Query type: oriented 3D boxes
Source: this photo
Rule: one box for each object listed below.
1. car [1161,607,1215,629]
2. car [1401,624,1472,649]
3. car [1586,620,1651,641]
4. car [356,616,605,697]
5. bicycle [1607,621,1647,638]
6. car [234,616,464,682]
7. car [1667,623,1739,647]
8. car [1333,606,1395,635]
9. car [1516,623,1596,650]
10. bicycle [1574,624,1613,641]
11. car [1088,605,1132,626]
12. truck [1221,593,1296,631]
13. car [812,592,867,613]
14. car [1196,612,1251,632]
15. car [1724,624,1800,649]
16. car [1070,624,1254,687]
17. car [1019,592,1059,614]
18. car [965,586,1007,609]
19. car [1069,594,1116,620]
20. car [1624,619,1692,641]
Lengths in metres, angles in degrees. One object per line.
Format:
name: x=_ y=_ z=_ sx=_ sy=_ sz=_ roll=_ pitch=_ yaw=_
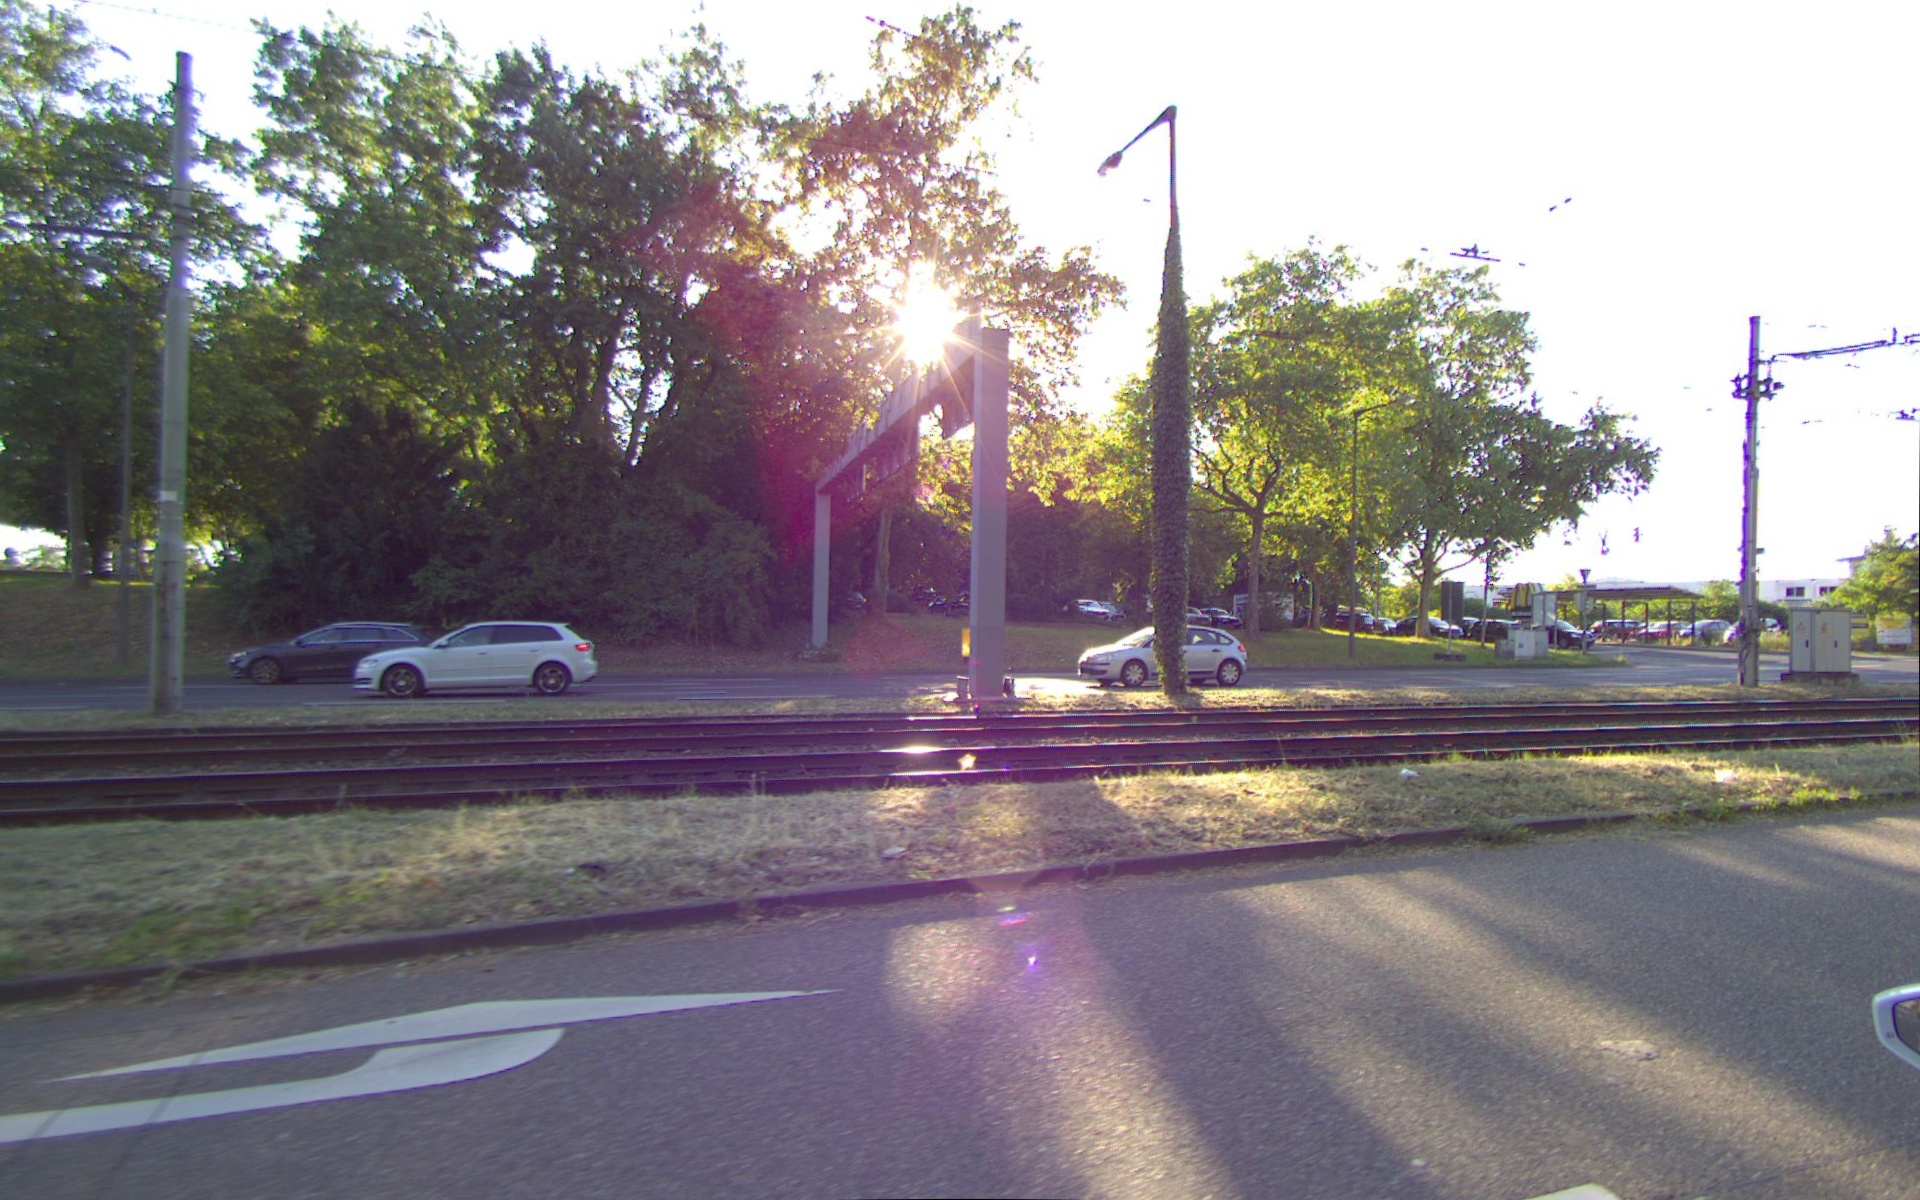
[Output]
car: x=15.209 y=1.179 z=67.209 sx=1.648 sy=1.390 sz=3.981 roll=1 pitch=0 yaw=-20
car: x=30.101 y=2.302 z=63.589 sx=1.755 sy=1.405 sz=4.053 roll=1 pitch=0 yaw=-17
car: x=47.854 y=2.217 z=73.042 sx=3.935 sy=1.461 sz=1.841 roll=1 pitch=0 yaw=-17
car: x=-9.137 y=1.059 z=19.526 sx=4.195 sy=1.434 sz=1.651 roll=1 pitch=-1 yaw=-21
bicycle: x=43.170 y=1.903 z=64.986 sx=2.149 sy=1.079 sz=0.668 roll=1 pitch=0 yaw=-2
car: x=-14.920 y=1.198 z=24.824 sx=4.530 sy=1.501 sz=1.836 roll=1 pitch=0 yaw=-20
car: x=49.093 y=2.320 z=66.422 sx=3.935 sy=1.461 sz=1.841 roll=1 pitch=0 yaw=-17
car: x=27.874 y=1.422 z=69.492 sx=1.967 sy=1.884 sz=3.987 roll=1 pitch=-1 yaw=-16
car: x=34.906 y=2.124 z=58.940 sx=1.753 sy=1.405 sz=4.058 roll=1 pitch=0 yaw=-12
bicycle: x=42.790 y=2.169 z=67.856 sx=2.148 sy=1.079 sz=0.668 roll=1 pitch=0 yaw=12
car: x=11.500 y=1.177 z=77.266 sx=1.892 sy=1.550 sz=3.986 roll=1 pitch=0 yaw=-16
truck: x=28.432 y=1.086 z=96.005 sx=2.691 sy=3.433 sz=8.284 roll=1 pitch=0 yaw=-17
car: x=-8.130 y=0.171 z=67.799 sx=3.456 sy=1.350 sz=1.523 roll=1 pitch=0 yaw=26
car: x=17.838 y=1.462 z=68.283 sx=1.648 sy=1.277 sz=3.981 roll=1 pitch=0 yaw=-20
car: x=50.667 y=2.307 z=63.491 sx=3.935 sy=1.461 sz=1.841 roll=1 pitch=0 yaw=-17
car: x=4.967 y=1.339 z=24.748 sx=4.191 sy=1.434 sz=1.652 roll=1 pitch=-1 yaw=-18
car: x=5.011 y=0.173 z=64.128 sx=1.556 sy=1.350 sz=3.512 roll=1 pitch=0 yaw=-14
car: x=1.589 y=-0.130 z=62.296 sx=1.500 sy=1.350 sz=3.507 roll=1 pitch=0 yaw=-18
car: x=8.488 y=0.451 z=64.677 sx=1.828 sy=1.550 sz=3.992 roll=1 pitch=0 yaw=-10
car: x=48.448 y=2.088 z=69.699 sx=3.935 sy=1.461 sz=1.841 roll=1 pitch=0 yaw=-17
